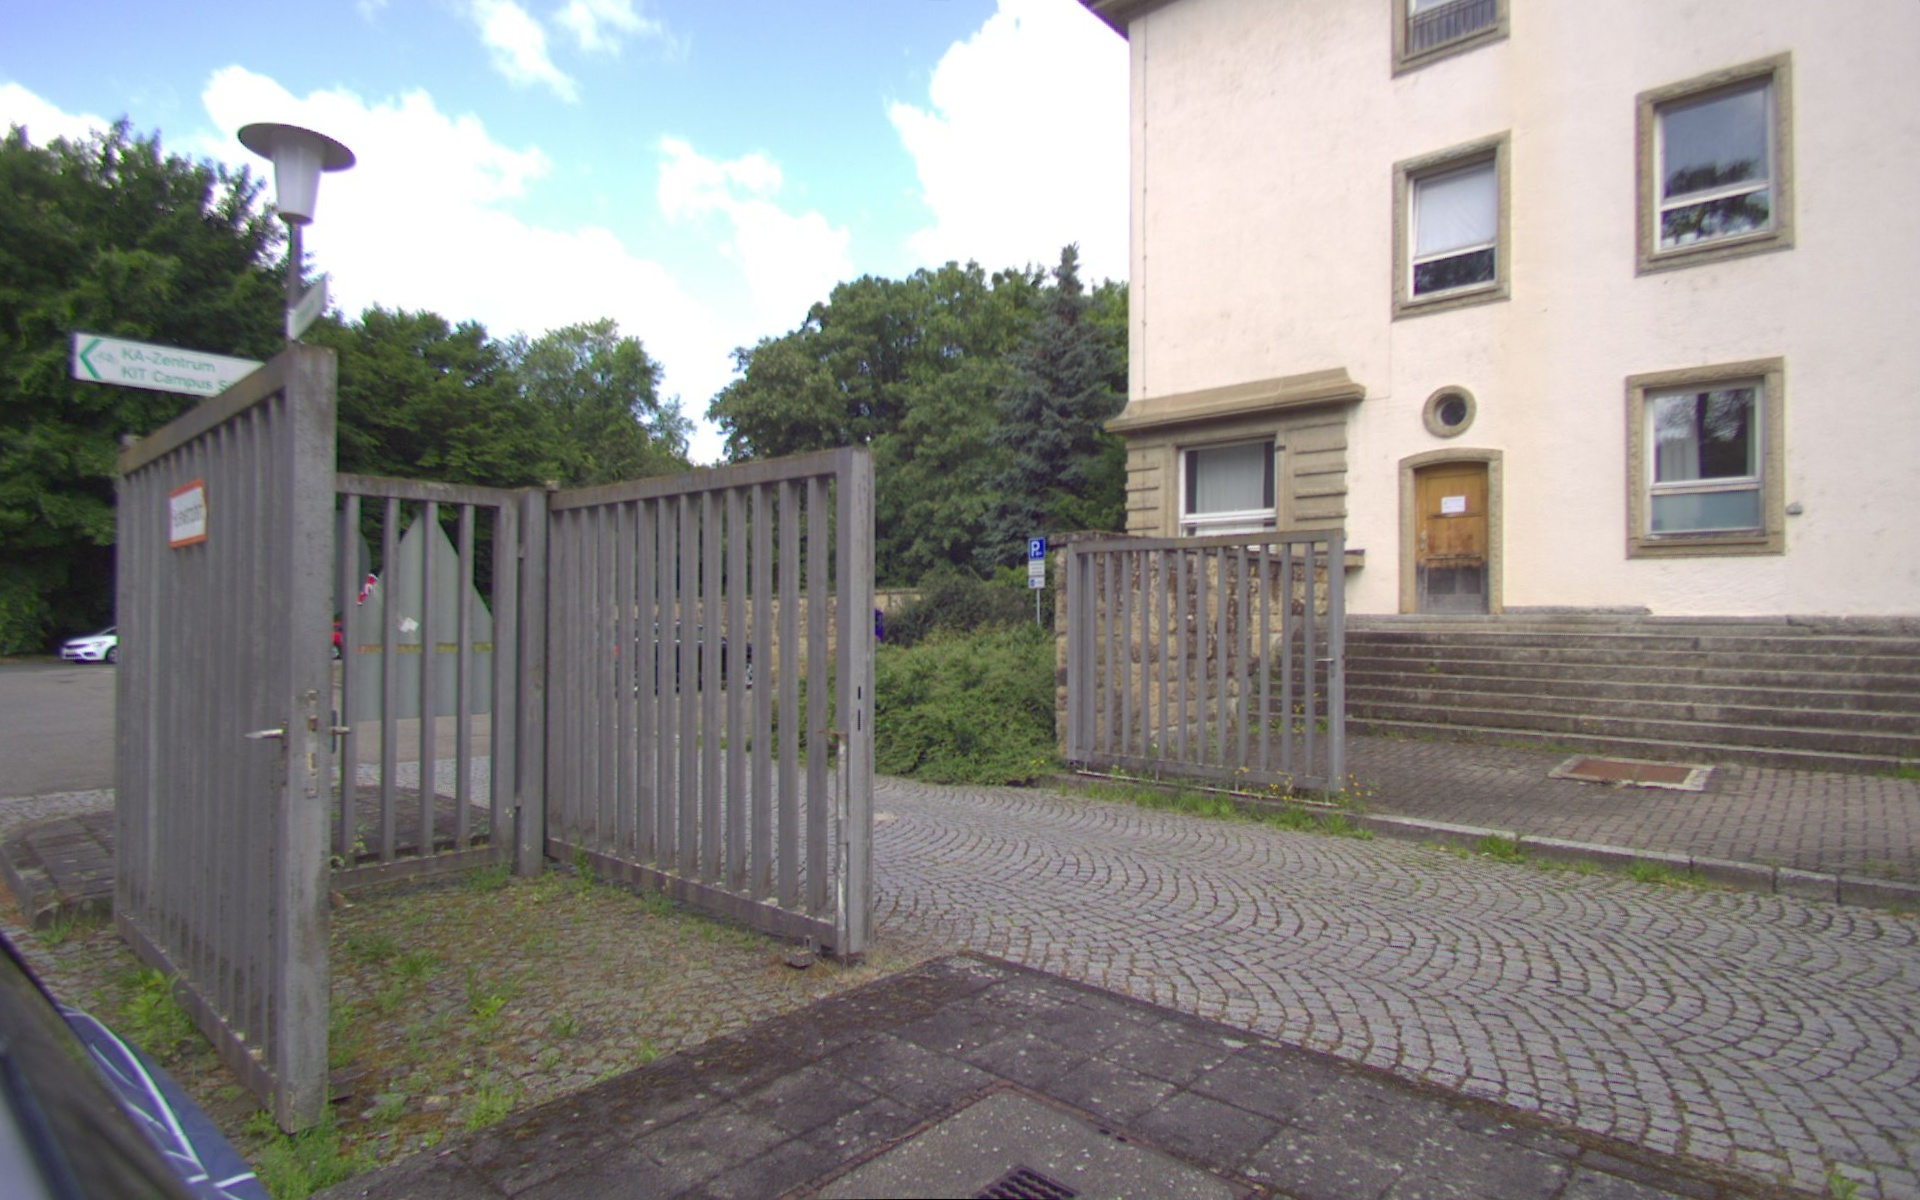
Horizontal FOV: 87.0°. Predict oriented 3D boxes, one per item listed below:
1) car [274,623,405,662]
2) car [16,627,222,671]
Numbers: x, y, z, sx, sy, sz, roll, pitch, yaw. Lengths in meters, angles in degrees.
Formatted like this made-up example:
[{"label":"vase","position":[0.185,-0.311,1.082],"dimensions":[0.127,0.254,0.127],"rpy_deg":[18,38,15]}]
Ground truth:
[{"label":"car","position":[-24.739,1.646,40.518],"dimensions":[1.983,1.475,4.179],"rpy_deg":[0,-2,18]},{"label":"car","position":[-29.268,1.652,35.492],"dimensions":[1.982,1.389,5.384],"rpy_deg":[0,-1,16]}]
